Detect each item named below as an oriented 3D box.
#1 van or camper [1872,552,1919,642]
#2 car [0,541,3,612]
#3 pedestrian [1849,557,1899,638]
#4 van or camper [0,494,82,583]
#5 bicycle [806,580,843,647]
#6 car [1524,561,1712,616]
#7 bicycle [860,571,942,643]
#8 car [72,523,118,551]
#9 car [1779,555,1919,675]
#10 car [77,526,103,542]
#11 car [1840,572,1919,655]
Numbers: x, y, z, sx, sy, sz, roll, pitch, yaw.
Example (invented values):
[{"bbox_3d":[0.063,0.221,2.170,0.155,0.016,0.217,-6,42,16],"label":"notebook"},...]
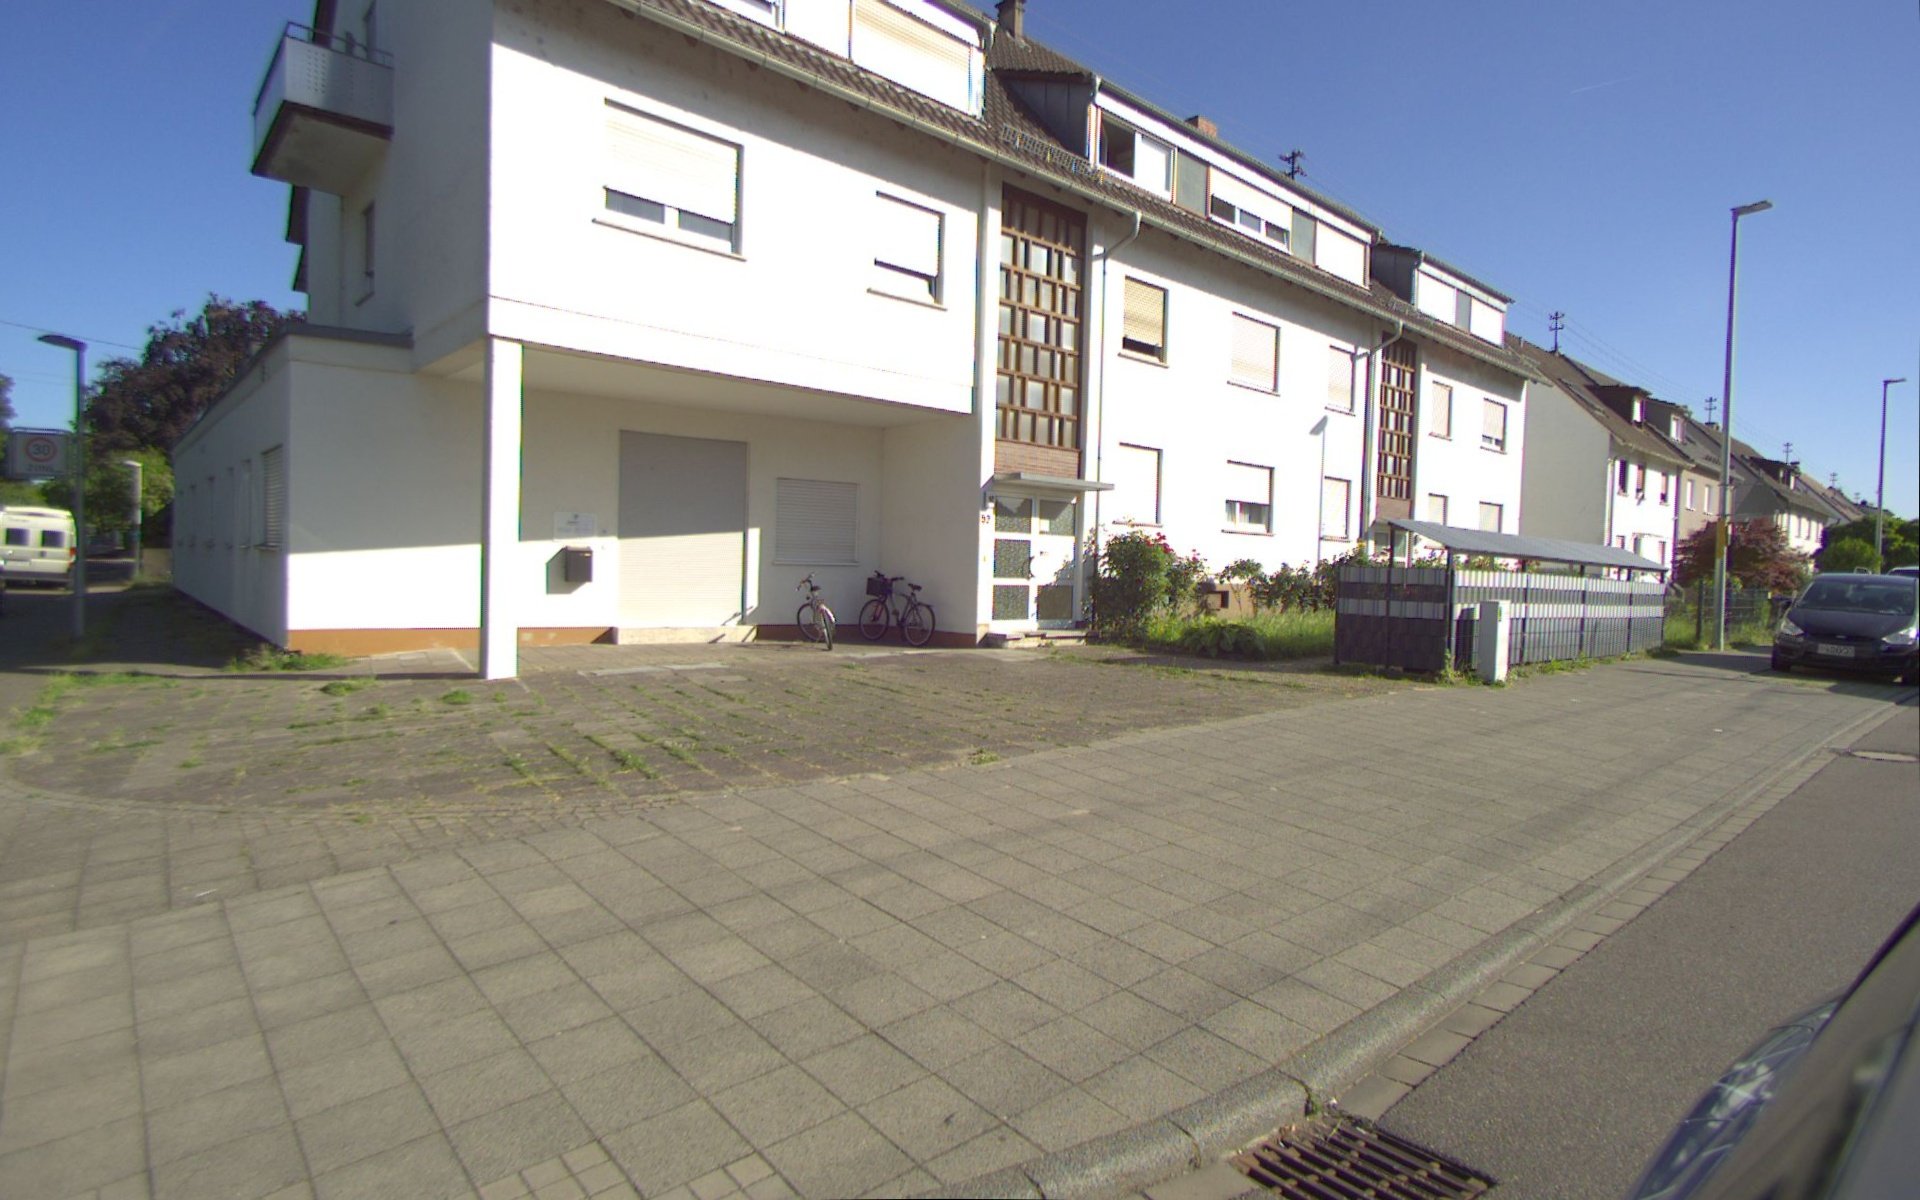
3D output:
[{"bbox_3d":[23.725,-0.027,23.930,5.194,1.980,2.036,1,3,-35],"label":"van or camper"},{"bbox_3d":[-19.610,-0.439,19.399,1.610,1.464,3.705,0,2,-40],"label":"car"},{"bbox_3d":[22.298,-0.063,24.695,0.744,1.936,0.701,0,1,-33],"label":"pedestrian"},{"bbox_3d":[-30.637,-1.972,33.582,2.206,2.723,5.059,0,2,-40],"label":"van or camper"},{"bbox_3d":[-1.947,0.168,14.436,0.481,0.882,1.546,0,2,-9],"label":"bicycle"},{"bbox_3d":[20.957,-0.432,32.402,1.875,1.495,4.719,-1,4,-42],"label":"car"},{"bbox_3d":[-0.929,0.078,15.410,0.326,1.015,1.713,0,2,-38],"label":"bicycle"},{"bbox_3d":[-64.816,-4.680,75.934,2.392,1.941,5.150,0,2,-38],"label":"car"},{"bbox_3d":[15.235,0.200,16.769,4.778,1.648,1.795,0,5,-43],"label":"car"},{"bbox_3d":[-115.520,-8.792,134.419,2.392,1.941,5.150,0,2,-38],"label":"car"},{"bbox_3d":[19.216,0.239,20.317,4.085,1.510,1.661,-1,3,-40],"label":"car"}]
